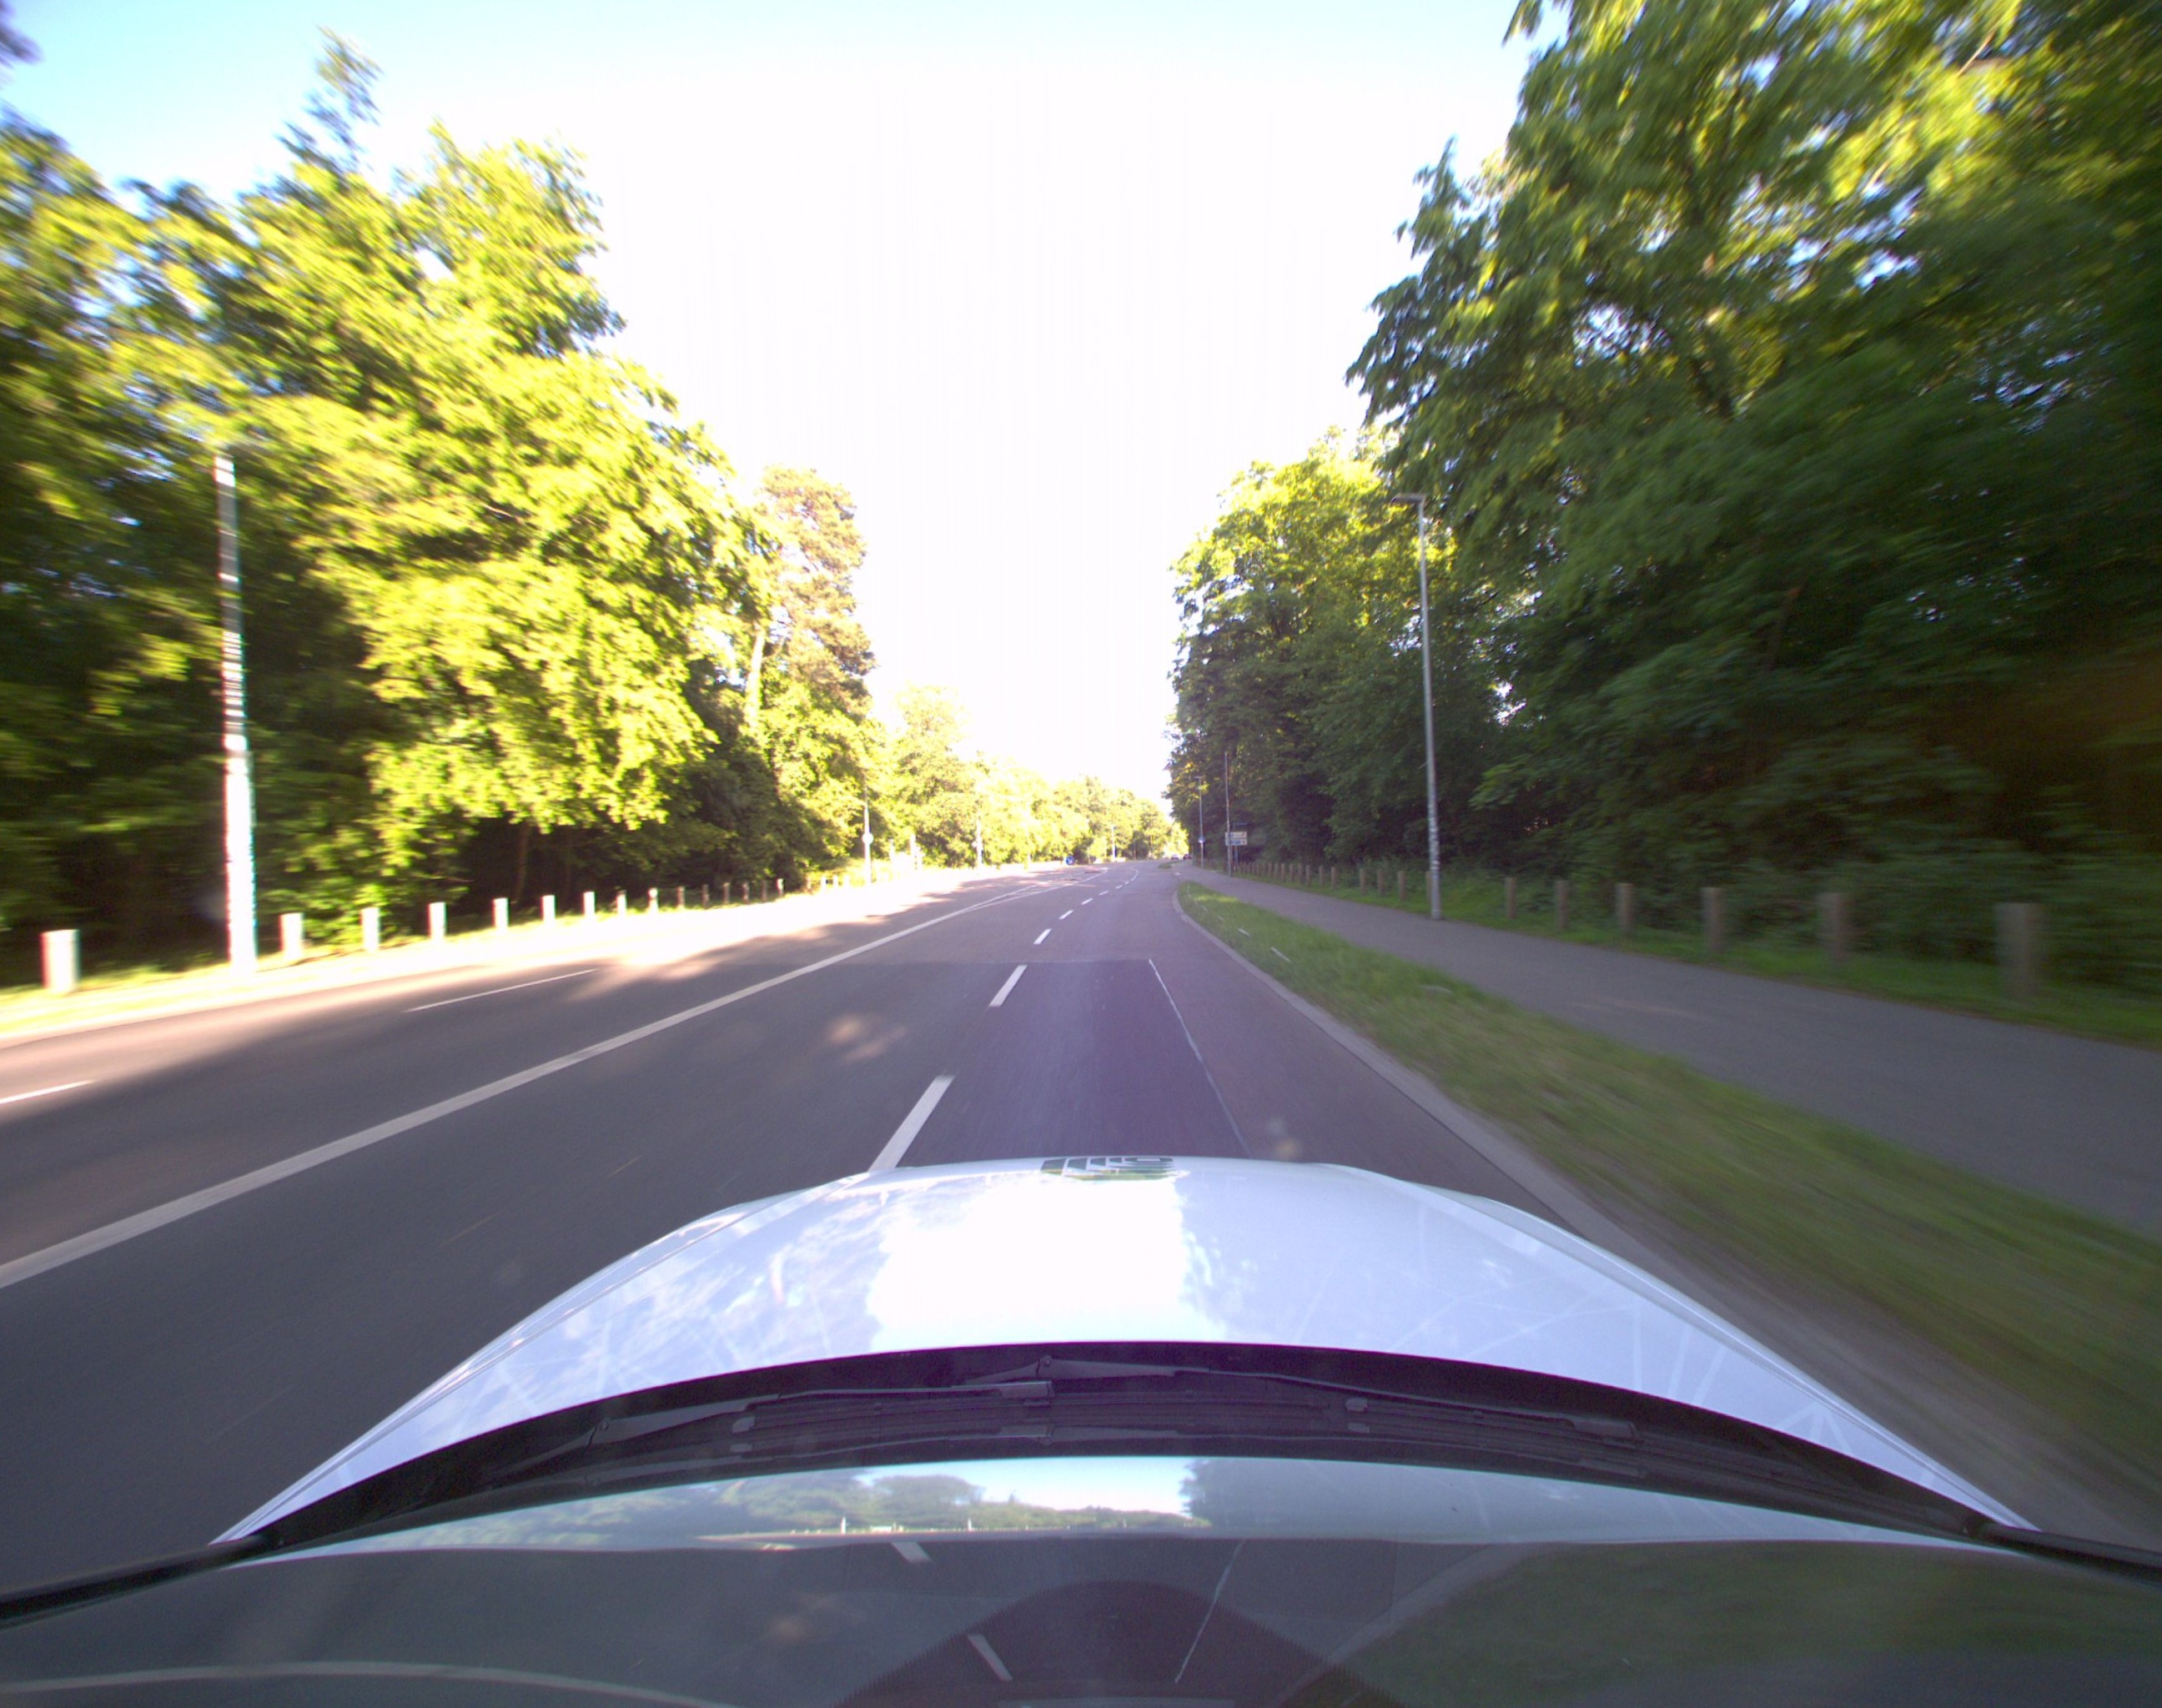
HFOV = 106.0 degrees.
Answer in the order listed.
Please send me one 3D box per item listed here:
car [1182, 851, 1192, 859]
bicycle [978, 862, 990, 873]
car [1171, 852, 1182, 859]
[{"bbox_3d":[27.744,0.277,213.513,1.865,1.765,4.018,-2,0,17],"label":"car"},{"bbox_3d":[-9.450,1.310,79.678,0.398,1.132,2.228,0,0,15],"label":"bicycle"},{"bbox_3d":[24.215,0.341,206.692,1.865,1.709,4.018,-2,0,17],"label":"car"}]
